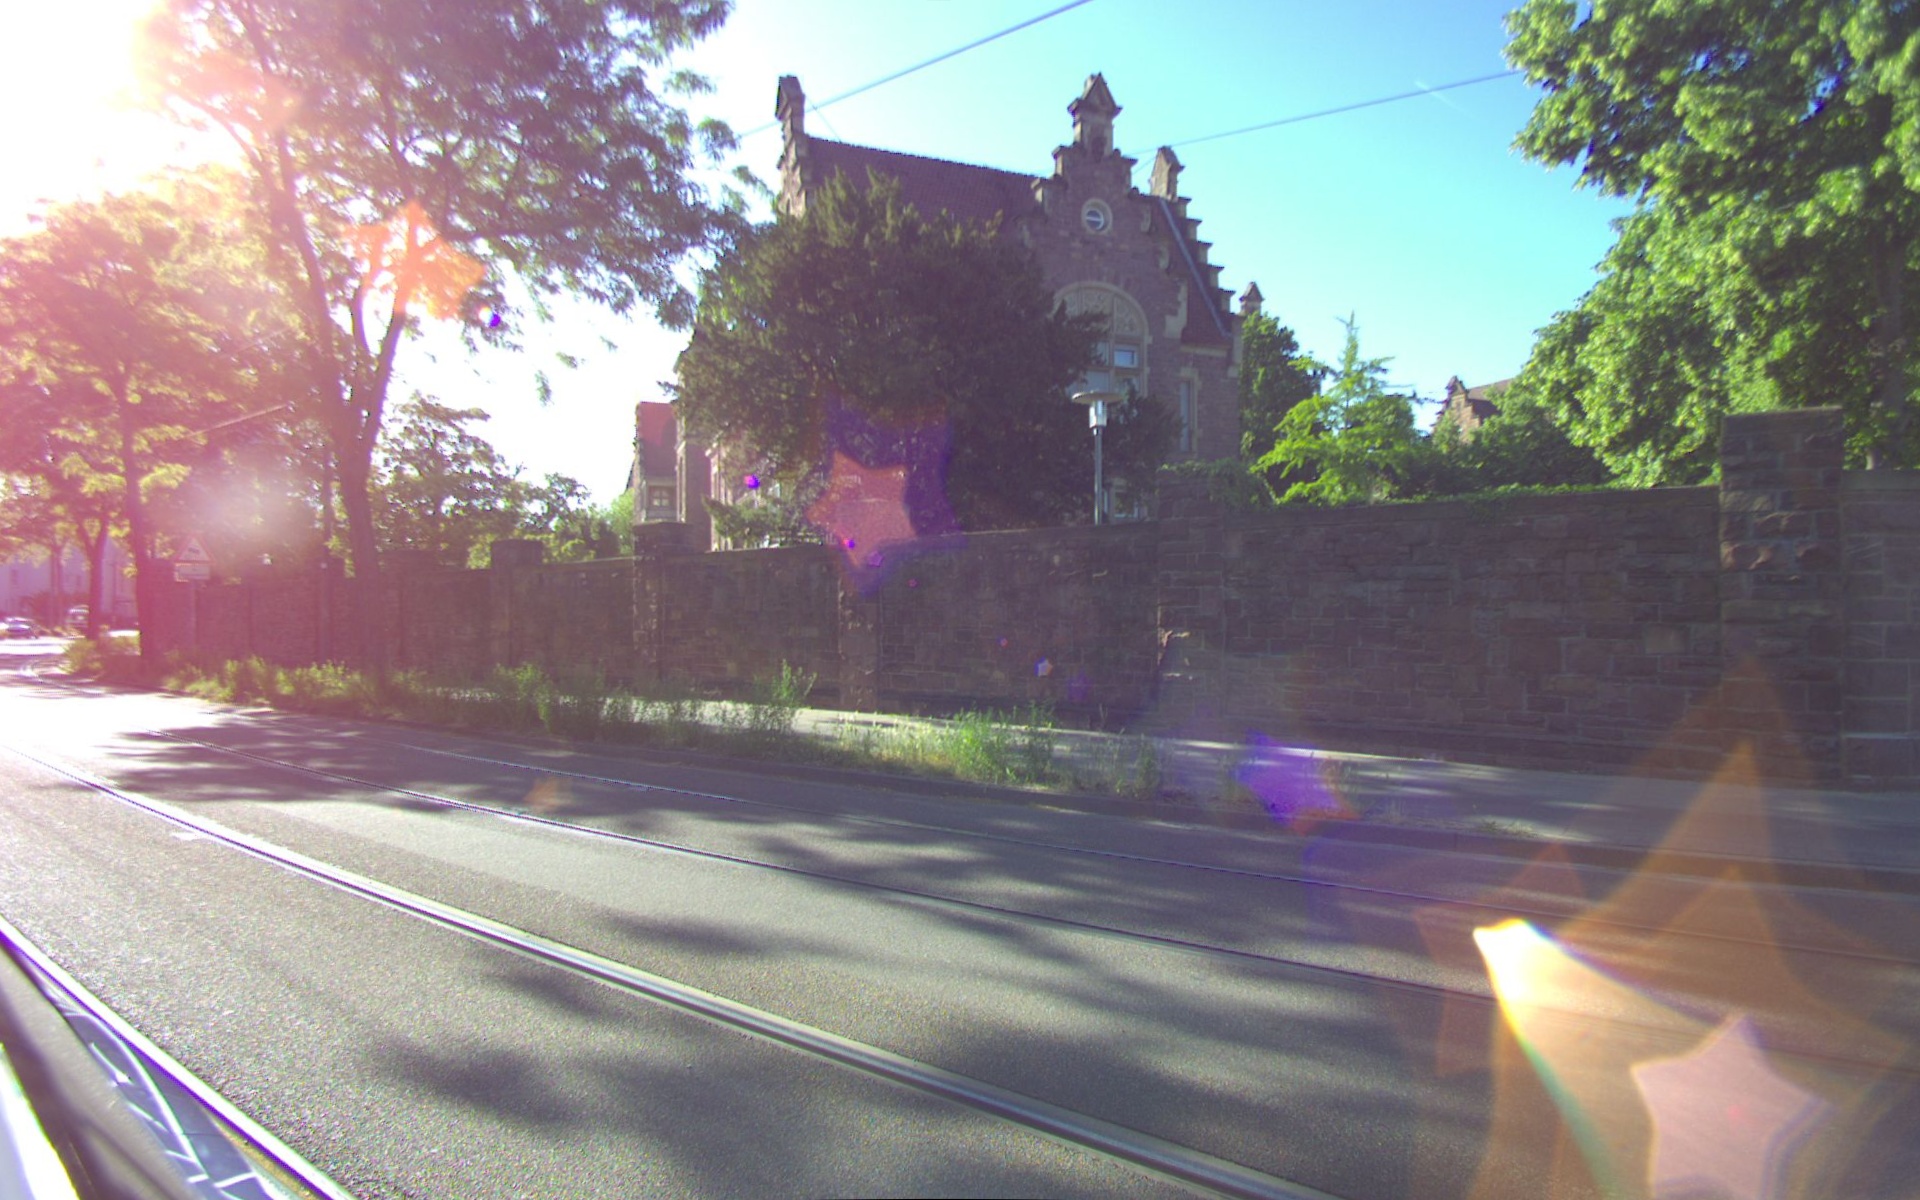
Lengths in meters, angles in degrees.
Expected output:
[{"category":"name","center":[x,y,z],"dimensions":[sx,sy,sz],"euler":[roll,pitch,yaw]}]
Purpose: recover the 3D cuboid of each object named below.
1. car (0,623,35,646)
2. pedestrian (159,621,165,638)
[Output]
[{"category":"car","center":[-68.893,2.511,73.842],"dimensions":[1.969,1.560,4.005],"euler":[0,-1,-41]},{"category":"pedestrian","center":[-85.988,3.164,109.029],"dimensions":[0.516,1.847,0.588],"euler":[0,-1,-34]}]
